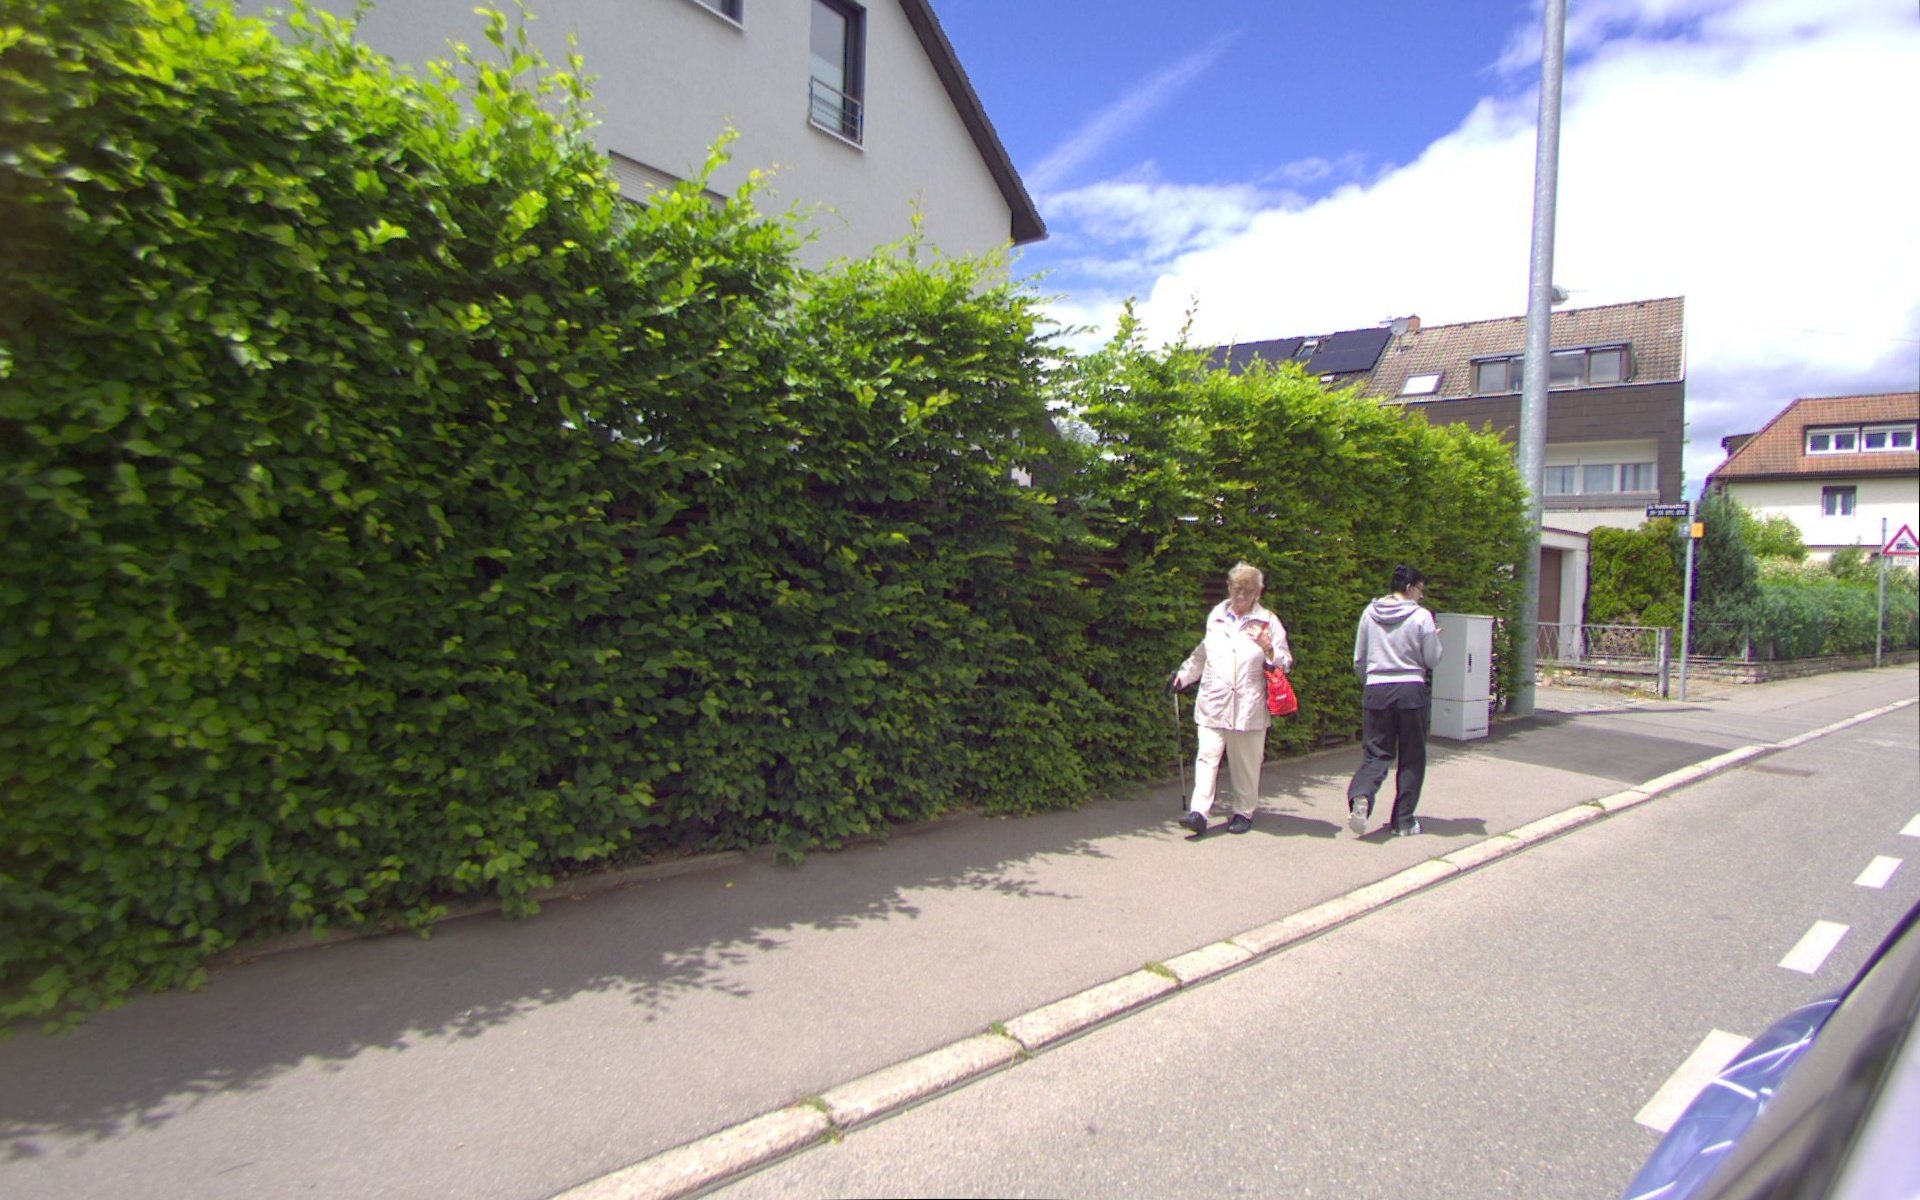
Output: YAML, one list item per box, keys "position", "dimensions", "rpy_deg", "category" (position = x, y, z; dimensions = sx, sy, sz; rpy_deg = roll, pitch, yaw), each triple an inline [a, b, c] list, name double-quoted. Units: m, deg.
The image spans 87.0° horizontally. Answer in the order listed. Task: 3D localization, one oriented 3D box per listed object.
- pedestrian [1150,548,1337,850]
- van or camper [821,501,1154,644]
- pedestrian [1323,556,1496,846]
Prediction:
- position: [1.672, 0.525, 6.003]
  dimensions: [0.641, 1.637, 0.801]
  rpy_deg: [1, 2, -40]
  category: "pedestrian"
- position: [0.588, -0.601, 26.689]
  dimensions: [8.597, 3.344, 2.397]
  rpy_deg: [-1, -1, 27]
  category: "van or camper"
- position: [2.748, 0.563, 6.188]
  dimensions: [0.821, 1.625, 0.604]
  rpy_deg: [0, 2, -40]
  category: "pedestrian"
